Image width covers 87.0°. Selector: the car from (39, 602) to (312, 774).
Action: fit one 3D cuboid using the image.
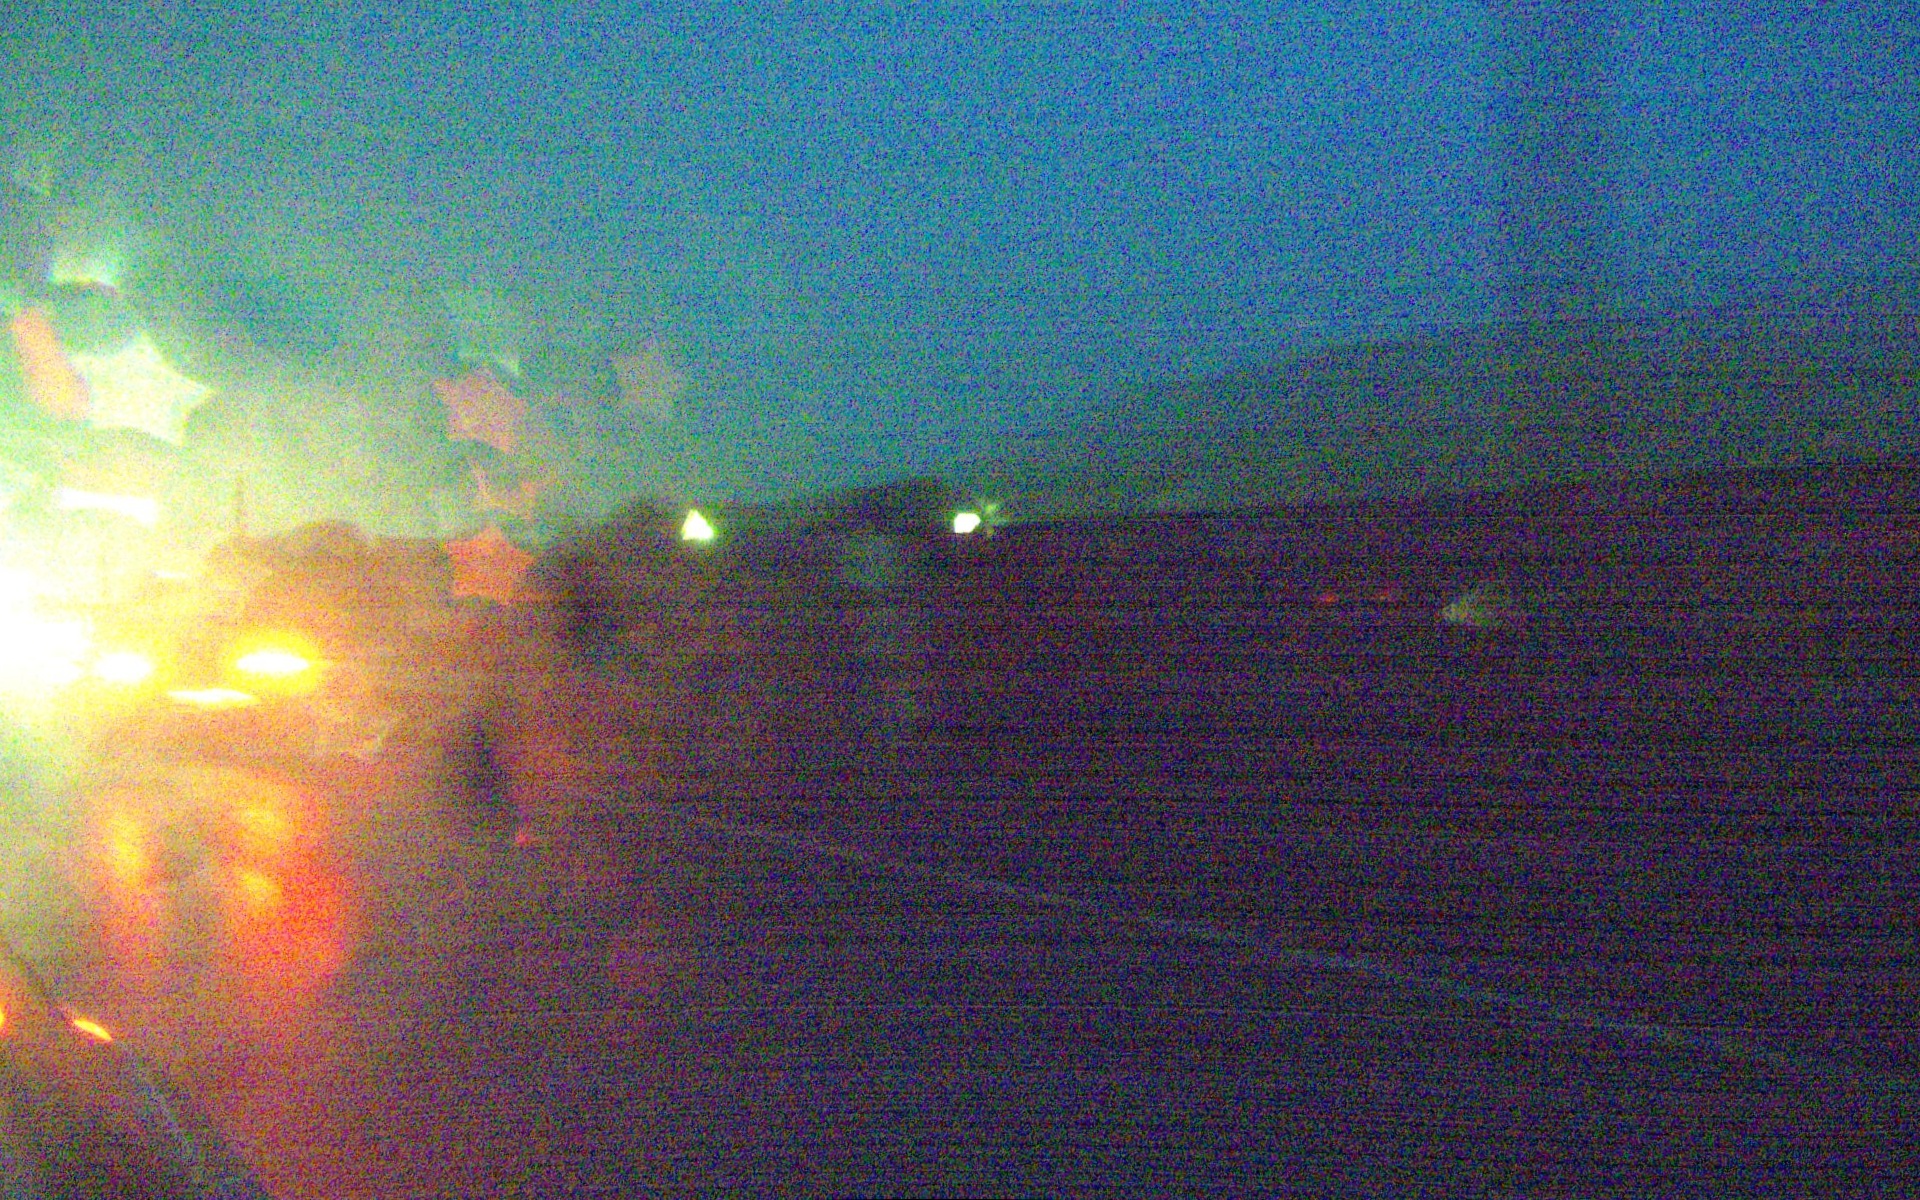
[{"bbox_3d":[-9.273,0.897,11.854,4.025,1.658,1.900,-1,-1,43],"label":"car"}]
